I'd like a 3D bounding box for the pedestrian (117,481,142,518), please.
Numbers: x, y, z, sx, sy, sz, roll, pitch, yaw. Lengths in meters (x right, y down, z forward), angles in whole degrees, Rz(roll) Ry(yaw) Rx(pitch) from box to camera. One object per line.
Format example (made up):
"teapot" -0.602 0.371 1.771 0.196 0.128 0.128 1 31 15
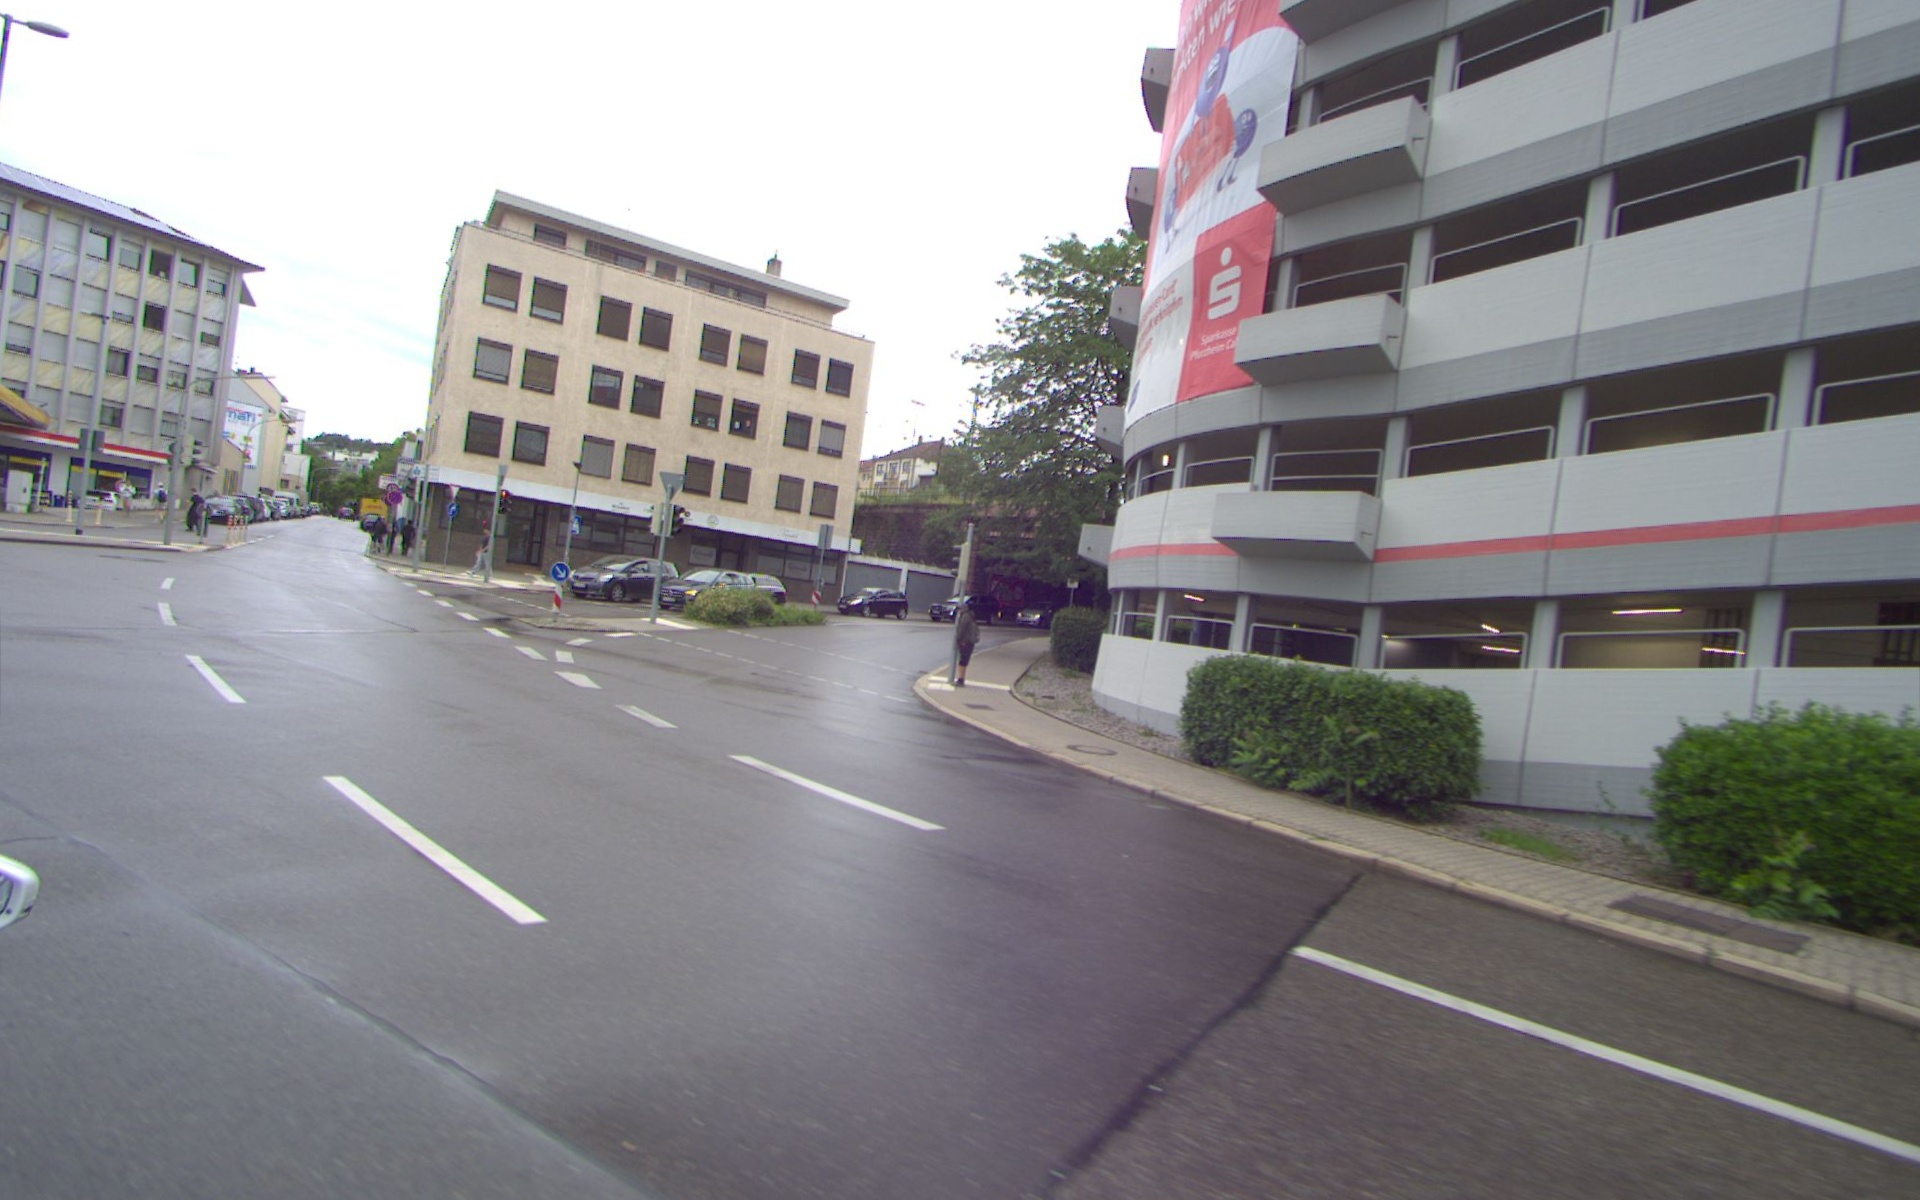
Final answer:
"pedestrian" -37.235 -4.500 45.090 0.472 1.532 0.574 8 -1 -11

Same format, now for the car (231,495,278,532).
"car" -45.379 -5.531 64.816 1.981 1.885 4.543 9 -3 -32

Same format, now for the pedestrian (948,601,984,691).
"pedestrian" 0.134 1.019 22.374 0.499 1.916 0.543 6 3 -11

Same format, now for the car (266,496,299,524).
"car" -58.716 -7.748 87.241 1.981 1.885 4.543 9 -3 -32

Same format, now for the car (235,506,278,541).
"car" -48.864 -5.281 69.949 1.981 1.885 4.543 9 -3 -32

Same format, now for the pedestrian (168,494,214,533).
"pedestrian" -32.326 -3.635 42.312 1.095 1.368 0.916 8 -2 -11

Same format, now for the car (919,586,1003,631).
"car" 0.085 0.474 53.925 1.975 1.802 4.144 6 -3 45

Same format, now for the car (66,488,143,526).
"car" -48.083 -5.201 56.648 1.973 1.534 4.396 6 -1 -23

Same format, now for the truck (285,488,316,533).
"truck" -65.767 -8.845 100.359 1.981 3.958 5.441 9 -2 -32

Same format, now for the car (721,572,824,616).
"car" -7.954 -0.217 43.158 1.964 1.463 4.479 7 1 25

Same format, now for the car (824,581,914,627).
"car" -4.455 0.217 49.754 1.975 1.602 3.981 6 -3 45

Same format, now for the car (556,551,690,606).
"car" -11.660 -0.697 35.149 1.963 1.463 4.482 7 1 21

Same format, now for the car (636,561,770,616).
"car" -8.793 -0.354 34.853 1.964 1.463 4.479 7 1 26

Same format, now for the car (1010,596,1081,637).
"car" 5.098 1.009 59.787 1.975 1.802 3.981 6 -3 45

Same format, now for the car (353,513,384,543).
"car" -50.781 -6.155 86.370 1.979 2.036 3.971 9 -3 -29

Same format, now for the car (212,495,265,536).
"car" -42.242 -4.891 58.967 1.981 1.885 4.543 9 -3 -32

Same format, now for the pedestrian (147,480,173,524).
"pedestrian" -35.561 -4.348 44.721 0.674 1.778 0.724 9 -2 -38

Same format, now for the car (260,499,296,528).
"car" -55.758 -7.035 82.316 1.981 1.885 4.543 9 -3 -32

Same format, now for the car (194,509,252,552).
"car" -39.818 -3.696 54.445 1.981 1.885 4.543 9 -3 -32

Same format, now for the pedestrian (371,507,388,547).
"pedestrian" -27.076 -3.384 46.896 0.475 1.762 0.570 8 -2 -31

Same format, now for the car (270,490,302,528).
"car" -62.756 -8.395 93.701 1.981 3.007 4.543 9 -2 -32

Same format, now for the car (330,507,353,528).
"car" -74.607 -9.901 121.383 1.979 2.036 3.971 9 -3 -29

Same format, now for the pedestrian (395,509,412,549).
"pedestrian" -26.146 -3.335 47.265 0.475 1.762 0.570 8 -2 -31

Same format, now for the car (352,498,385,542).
"car" -57.995 -7.747 98.670 2.360 3.729 4.956 9 -2 -31

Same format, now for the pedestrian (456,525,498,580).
"pedestrian" -17.152 -1.683 35.754 0.761 1.811 0.859 7 -2 25
